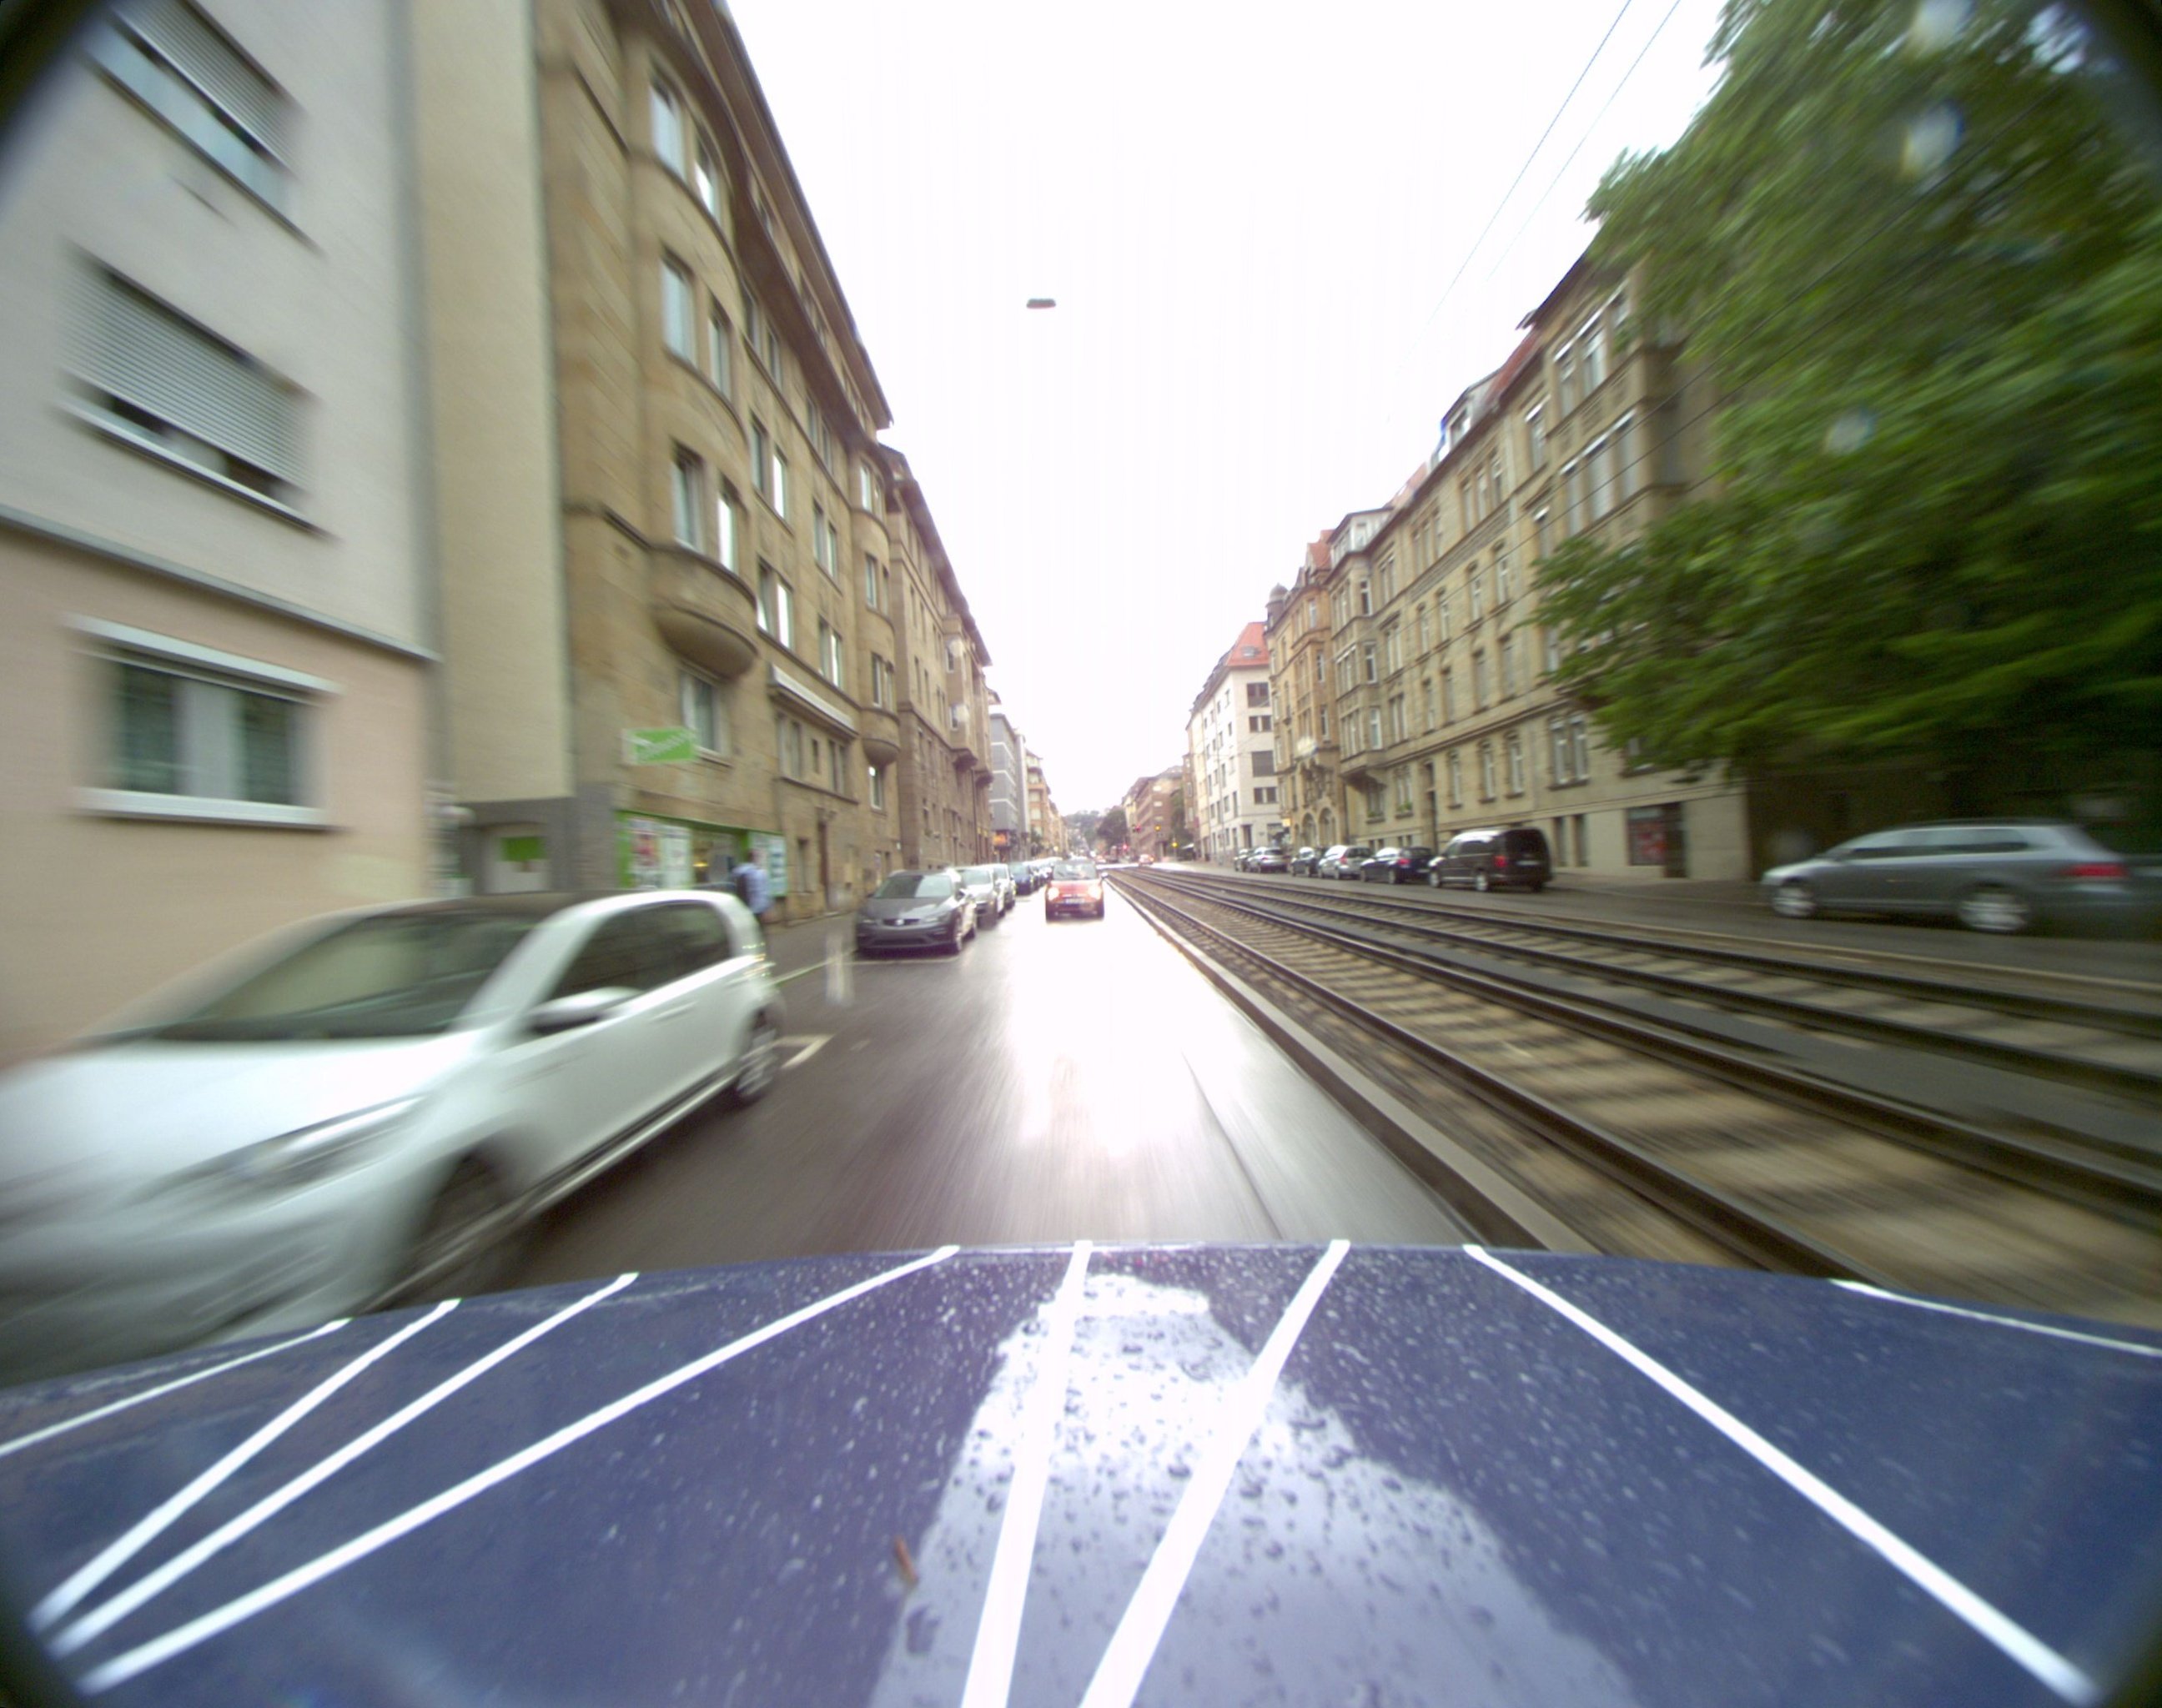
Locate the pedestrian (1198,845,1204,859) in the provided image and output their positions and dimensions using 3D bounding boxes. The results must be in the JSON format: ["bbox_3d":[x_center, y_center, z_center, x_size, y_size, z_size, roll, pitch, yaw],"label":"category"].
[{"bbox_3d":[15.287,-0.261,96.868,0.603,1.708,0.658,-5,1,3],"label":"pedestrian"}]

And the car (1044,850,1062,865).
[{"bbox_3d":[-2.924,0.369,77.856,1.696,1.474,3.928,-1,0,-4],"label":"car"}]

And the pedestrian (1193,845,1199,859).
[{"bbox_3d":[14.661,-0.208,96.977,0.603,1.708,0.746,-5,1,3],"label":"pedestrian"}]

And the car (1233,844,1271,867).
[{"bbox_3d":[12.459,0.100,55.583,1.863,1.592,4.430,-2,0,2],"label":"car"}]

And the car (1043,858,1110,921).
[{"bbox_3d":[-0.113,0.932,21.515,1.683,1.531,4.018,-2,0,0],"label":"car"}]

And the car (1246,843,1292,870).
[{"bbox_3d":[12.481,0.177,50.671,1.863,1.643,4.314,-2,0,-1],"label":"car"}]

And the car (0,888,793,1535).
[{"bbox_3d":[-2.931,1.009,3.727,1.574,1.453,3.599,-2,0,1],"label":"car"}]

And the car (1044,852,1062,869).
[{"bbox_3d":[-2.987,0.663,82.798,1.797,1.750,4.565,-3,0,-1],"label":"car"}]

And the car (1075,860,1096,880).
[{"bbox_3d":[0.460,1.666,81.898,2.135,2.002,4.328,-3,0,0],"label":"car"}]

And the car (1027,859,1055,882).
[{"bbox_3d":[-2.645,1.042,50.173,1.759,1.379,4.484,-1,0,-3],"label":"car"}]

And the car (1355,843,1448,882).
[{"bbox_3d":[12.357,0.299,29.612,1.767,1.390,4.269,-1,0,-1],"label":"car"}]

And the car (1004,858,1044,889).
[{"bbox_3d":[-2.944,0.996,39.908,1.792,1.454,4.083,-2,0,-1],"label":"car"}]

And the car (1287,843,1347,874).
[{"bbox_3d":[12.457,0.238,40.409,1.875,1.499,4.169,-2,0,0],"label":"car"}]

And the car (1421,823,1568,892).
[{"bbox_3d":[12.331,0.084,23.075,1.805,1.836,4.818,-1,0,0],"label":"car"}]

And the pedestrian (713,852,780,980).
[{"bbox_3d":[-4.723,0.853,10.770,0.608,1.753,0.688,-1,1,-1],"label":"pedestrian"}]

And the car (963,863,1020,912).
[{"bbox_3d":[-2.983,1.076,25.877,1.595,1.426,3.683,-2,0,-2],"label":"car"}]

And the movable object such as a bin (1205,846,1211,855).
[{"bbox_3d":[15.840,-0.401,94.743,0.631,1.074,0.563,-7,1,0],"label":"movable object such as a bin"}]

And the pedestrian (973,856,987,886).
[{"bbox_3d":[-5.249,0.876,39.668,0.562,1.526,0.710,-3,1,0],"label":"pedestrian"}]

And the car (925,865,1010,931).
[{"bbox_3d":[-2.893,1.078,20.084,1.672,1.426,3.955,-2,0,-1],"label":"car"}]

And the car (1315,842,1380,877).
[{"bbox_3d":[12.358,0.229,35.524,1.699,1.515,3.855,-1,0,1],"label":"car"}]

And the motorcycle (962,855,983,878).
[{"bbox_3d":[-6.164,0.687,43.305,0.707,1.192,2.745,-3,0,0],"label":"motorcycle"}]

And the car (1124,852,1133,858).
[{"bbox_3d":[11.871,0.198,191.053,2.093,1.449,4.860,-2,0,2],"label":"car"}]

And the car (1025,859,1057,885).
[{"bbox_3d":[-2.316,1.023,44.907,1.711,1.390,4.017,-2,0,-1],"label":"car"}]

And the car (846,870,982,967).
[{"bbox_3d":[-2.967,1.084,14.415,1.674,1.402,4.311,-2,0,-1],"label":"car"}]

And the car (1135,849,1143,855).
[{"bbox_3d":[12.882,-0.492,168.516,1.708,1.379,3.781,-2,0,2],"label":"car"}]

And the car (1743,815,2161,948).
[{"bbox_3d":[12.244,0.284,10.664,1.854,1.455,4.549,-1,0,-2],"label":"car"}]

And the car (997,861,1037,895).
[{"bbox_3d":[-2.927,1.057,35.249,1.548,1.407,3.445,-2,0,-1],"label":"car"}]

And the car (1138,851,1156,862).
[{"bbox_3d":[9.274,0.307,106.581,1.987,1.448,4.293,-2,0,-1],"label":"car"}]
